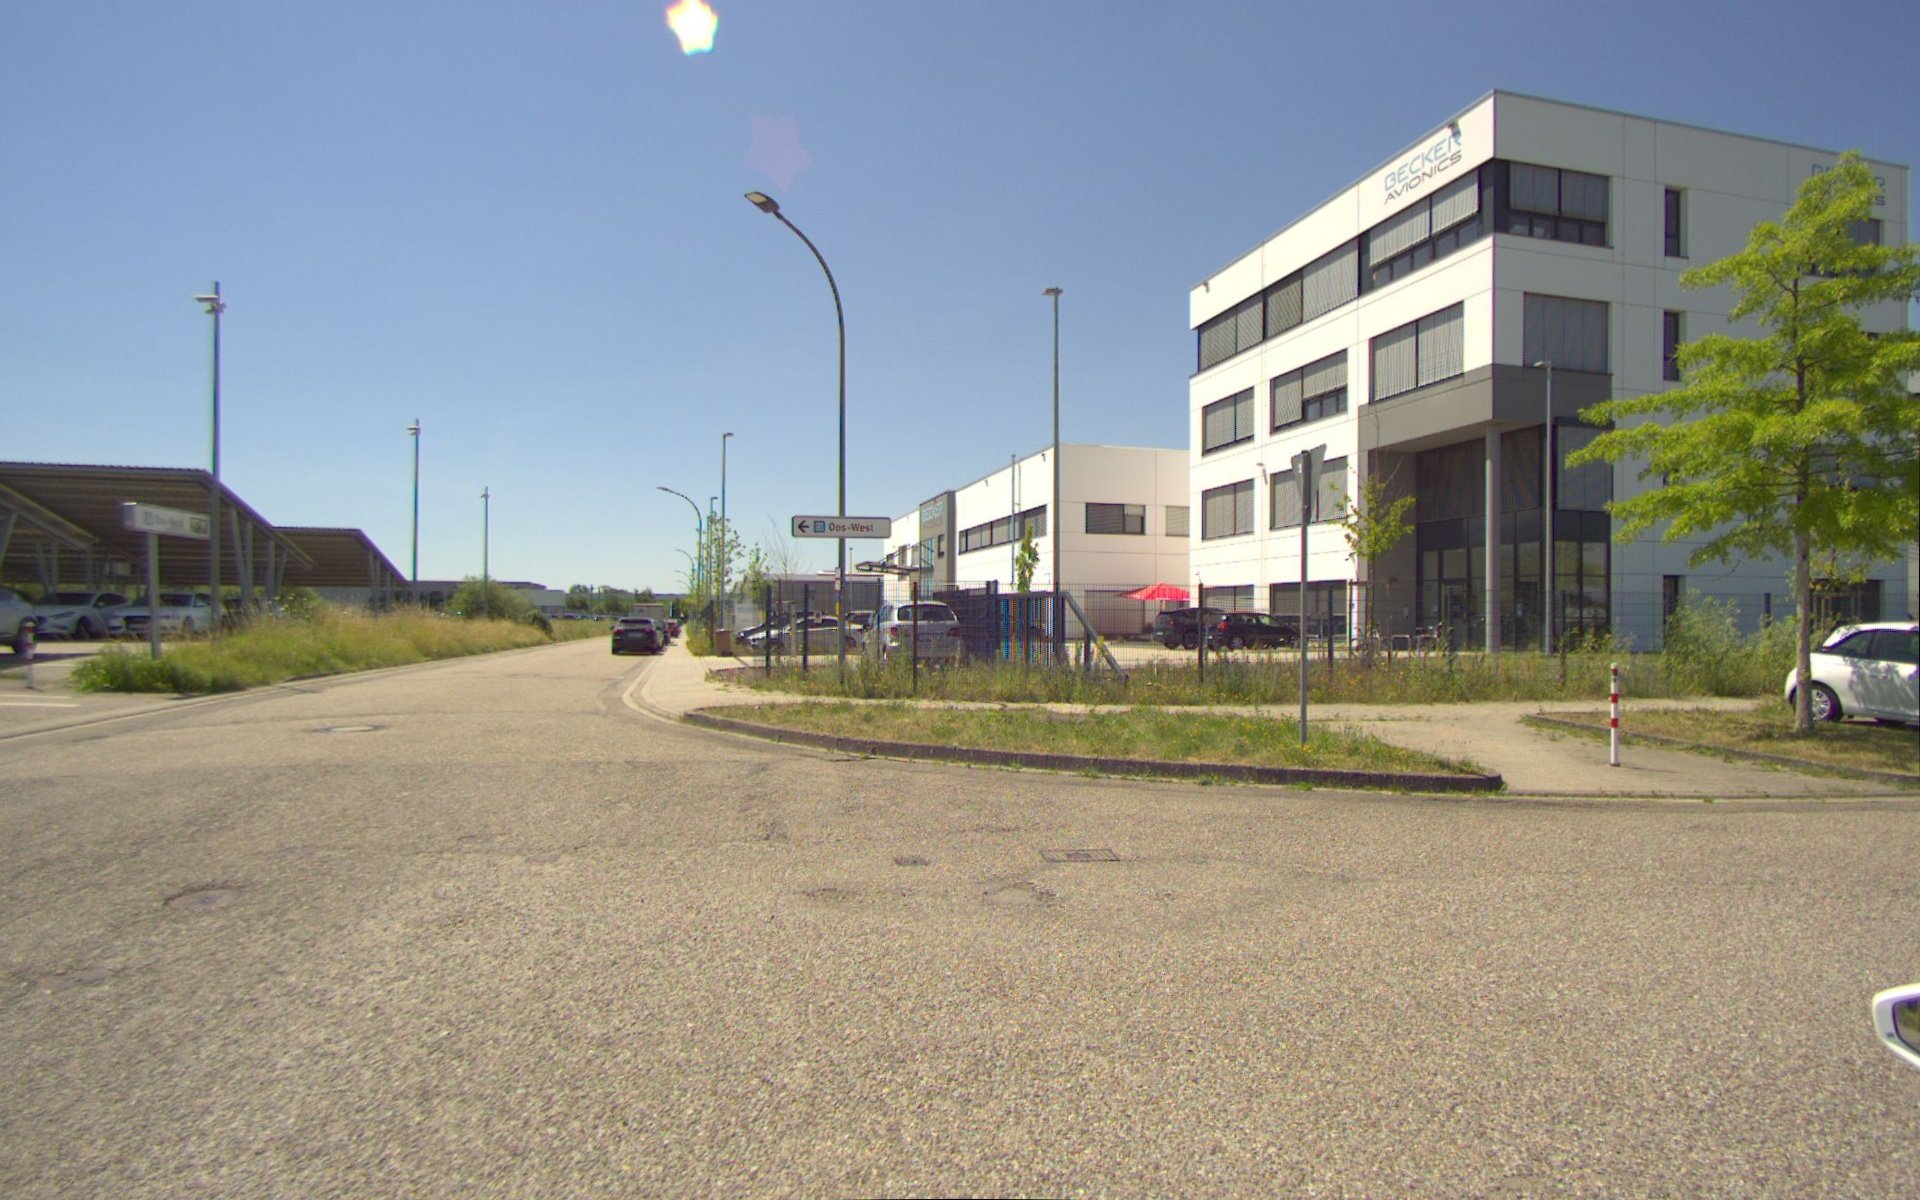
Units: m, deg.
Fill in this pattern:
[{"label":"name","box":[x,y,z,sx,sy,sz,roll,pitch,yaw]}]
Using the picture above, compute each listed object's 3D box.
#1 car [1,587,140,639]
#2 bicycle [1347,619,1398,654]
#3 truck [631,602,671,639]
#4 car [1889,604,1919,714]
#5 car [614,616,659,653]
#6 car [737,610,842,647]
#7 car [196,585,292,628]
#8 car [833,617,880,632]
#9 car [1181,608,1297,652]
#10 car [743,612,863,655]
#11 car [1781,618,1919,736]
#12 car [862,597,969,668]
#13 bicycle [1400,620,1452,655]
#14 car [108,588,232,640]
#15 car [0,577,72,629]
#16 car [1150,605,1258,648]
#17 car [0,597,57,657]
[{"label":"car","box":[-26.457,0.399,30.044,1.696,1.455,3.762,1,-1,-18]},{"label":"bicycle","box":[11.805,1.033,28.789,0.454,0.995,1.592,1,-1,-16]},{"label":"truck","box":[-18.062,1.168,58.579,2.133,2.040,5.076,1,-1,-18]},{"label":"car","box":[15.571,0.911,13.721,1.800,1.615,3.836,0,1,-17]},{"label":"car","box":[-13.217,1.380,41.144,1.670,1.395,3.985,1,-1,-17]},{"label":"car","box":[-7.370,1.241,43.291,4.331,1.534,1.694,1,-1,-15]},{"label":"car","box":[-25.464,0.253,35.846,1.696,1.455,3.762,1,-1,-18]},{"label":"car","box":[-9.680,2.308,93.947,4.095,1.357,1.776,1,-1,-16]},{"label":"car","box":[10.588,1.145,38.223,3.934,1.623,1.776,1,-1,-16]},{"label":"car","box":[-5.933,1.254,37.931,4.331,1.534,1.694,1,-1,-15]},{"label":"car","box":[13.124,1.021,13.022,1.698,1.460,3.505,0,1,-15]},{"label":"car","box":[-1.105,0.723,23.146,1.695,1.483,3.669,1,-1,-16]},{"label":"bicycle","box":[13.540,1.086,29.236,0.454,0.995,1.592,1,-1,-16]},{"label":"car","box":[-23.747,0.440,30.339,1.696,1.455,3.762,1,-1,-18]},{"label":"car","box":[-28.291,0.099,29.670,1.696,1.455,3.762,1,-1,-18]},{"label":"car","box":[9.874,1.068,40.709,3.934,1.706,1.776,1,-1,-16]},{"label":"car","box":[-20.683,0.555,20.669,1.696,1.244,3.762,1,-1,-18]}]
